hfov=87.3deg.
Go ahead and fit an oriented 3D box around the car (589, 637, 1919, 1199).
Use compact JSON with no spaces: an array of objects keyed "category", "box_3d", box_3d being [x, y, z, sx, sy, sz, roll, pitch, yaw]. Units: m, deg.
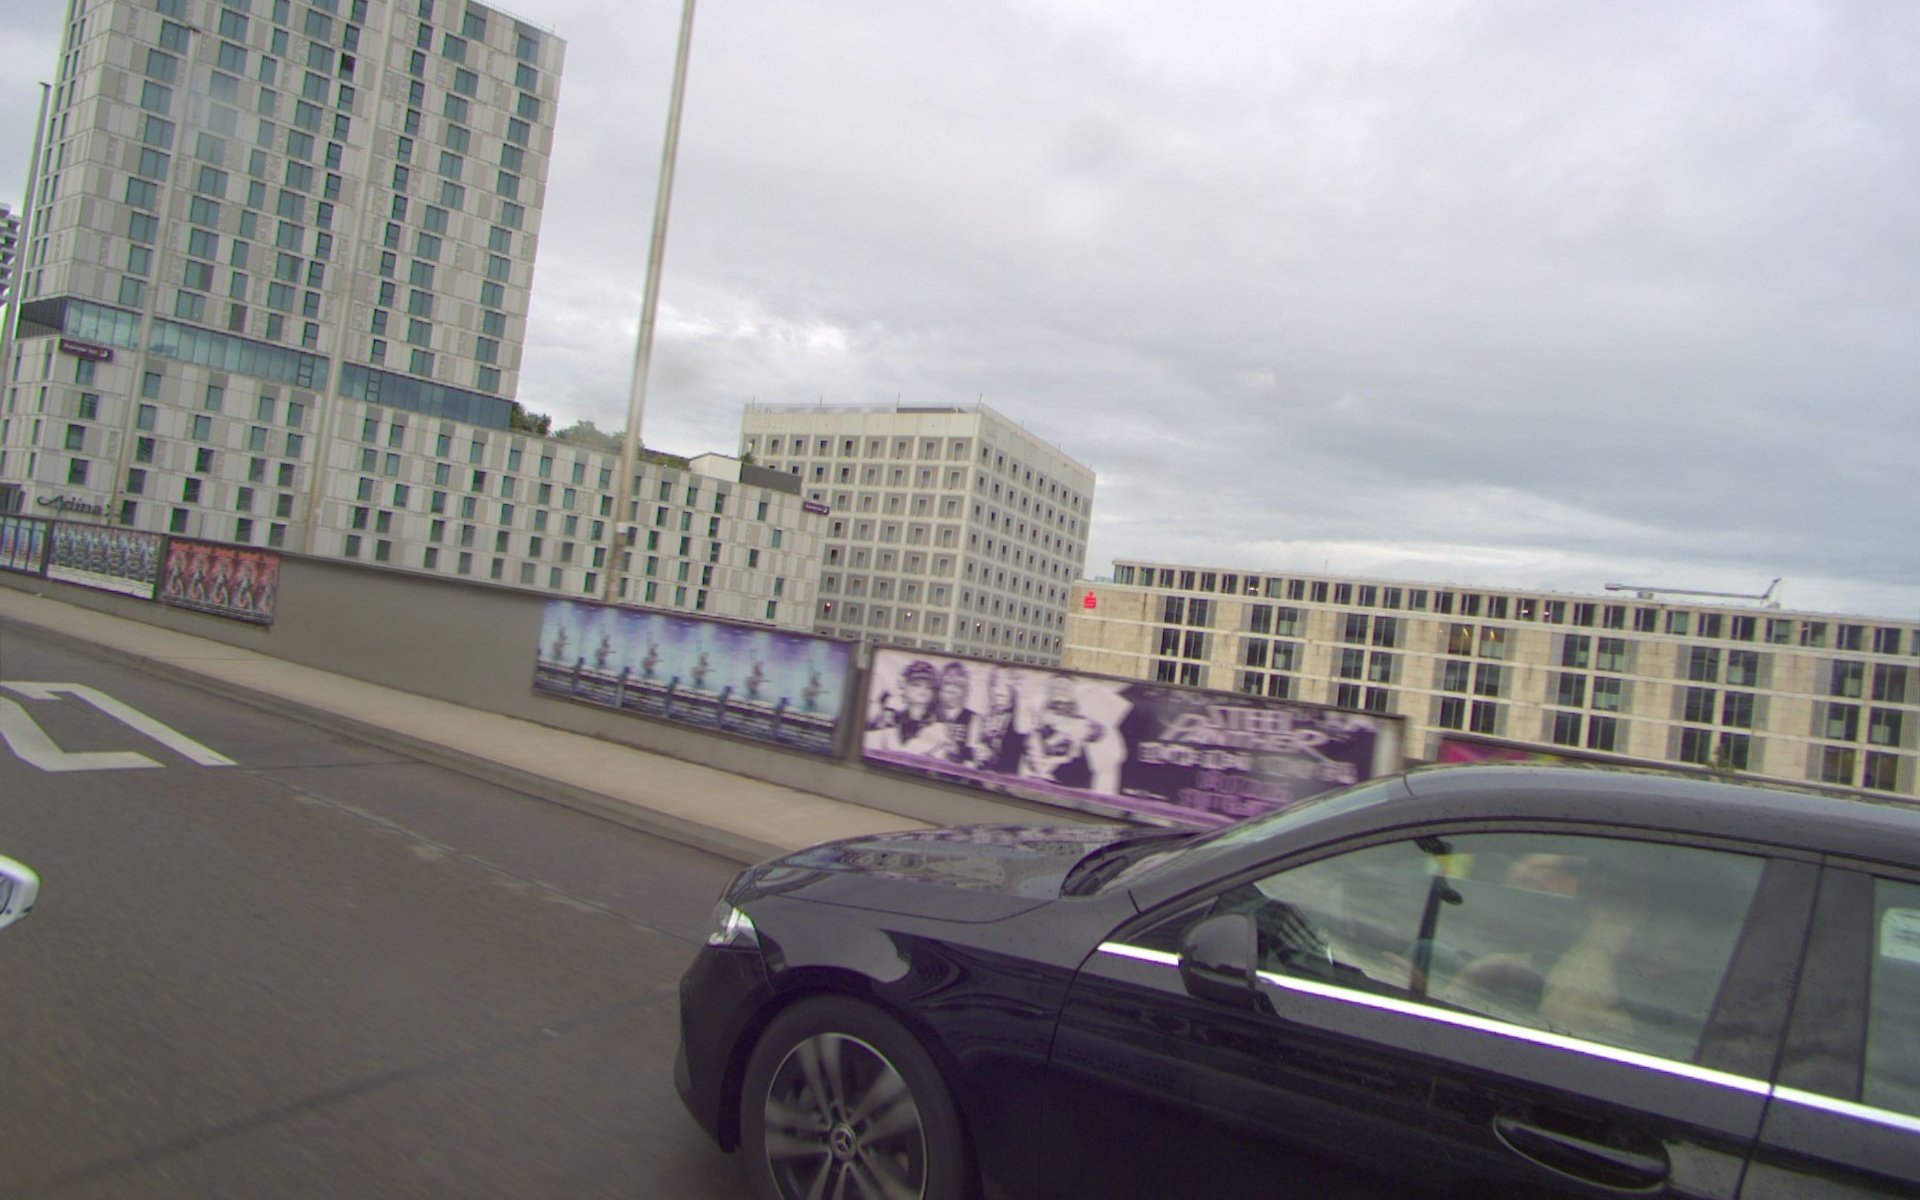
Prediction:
[{"category":"car","box_3d":[1.303,1.032,2.292,4.086,1.392,1.727,5,-3,30]}]
